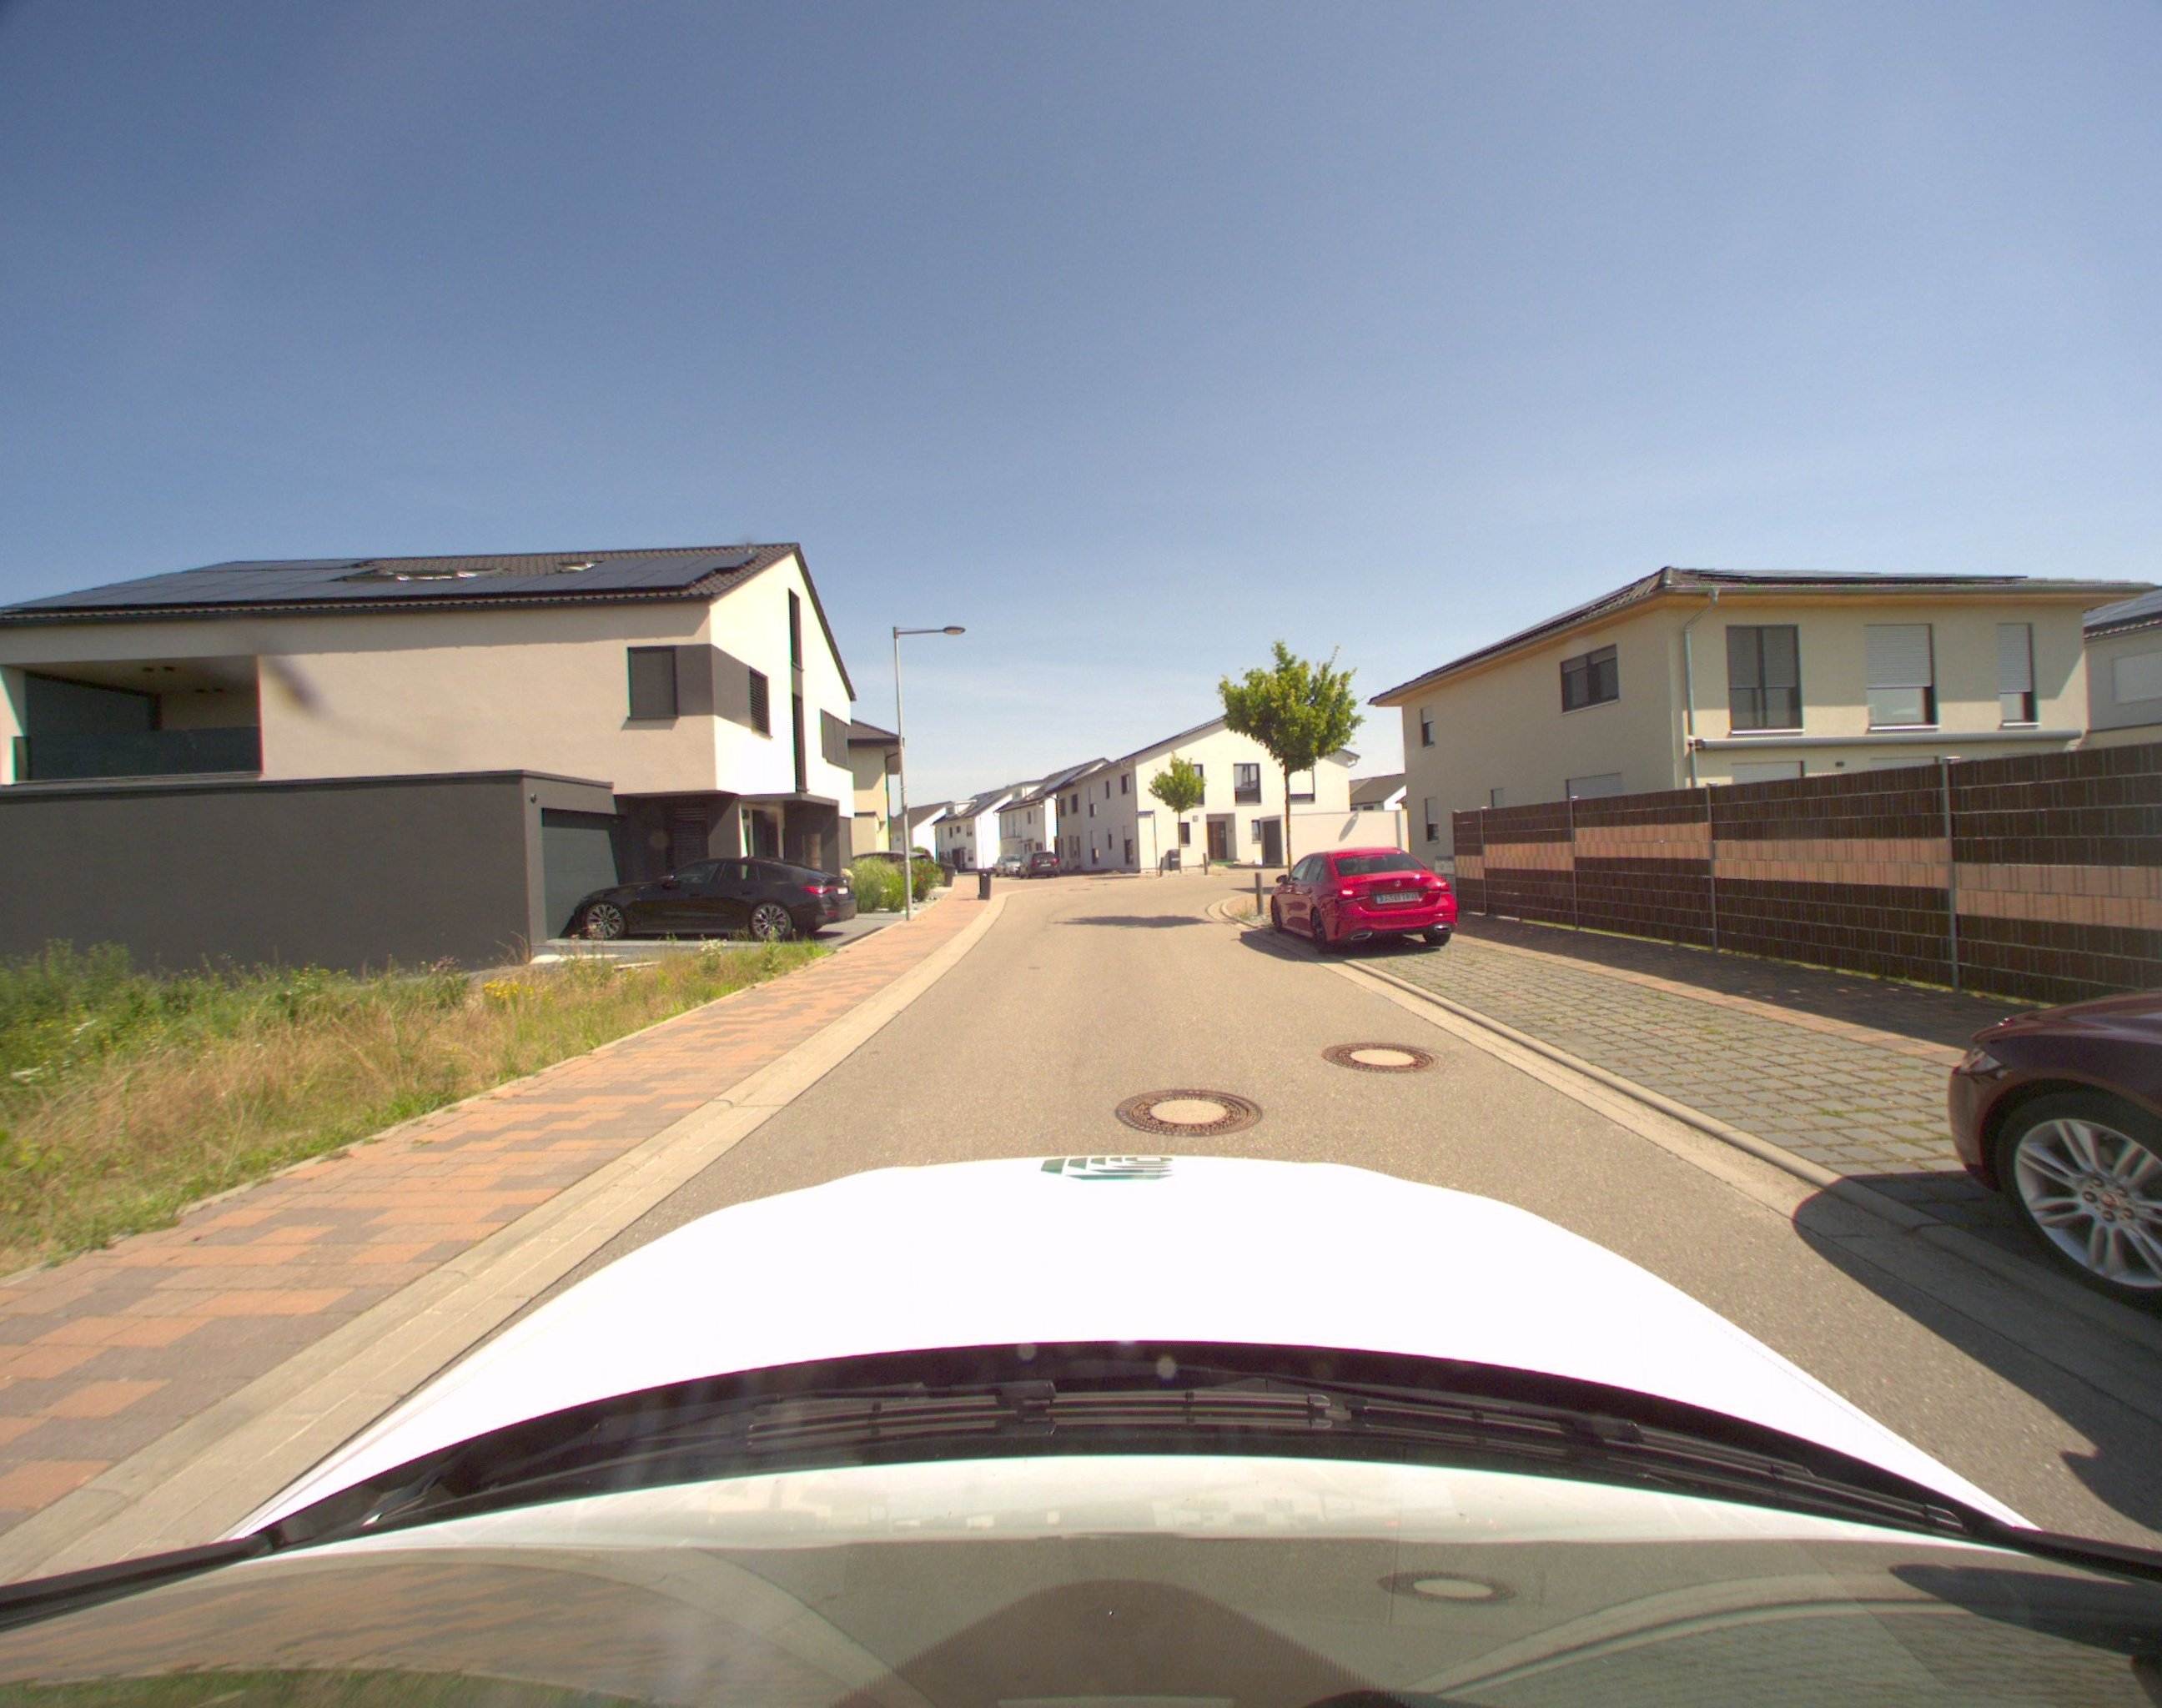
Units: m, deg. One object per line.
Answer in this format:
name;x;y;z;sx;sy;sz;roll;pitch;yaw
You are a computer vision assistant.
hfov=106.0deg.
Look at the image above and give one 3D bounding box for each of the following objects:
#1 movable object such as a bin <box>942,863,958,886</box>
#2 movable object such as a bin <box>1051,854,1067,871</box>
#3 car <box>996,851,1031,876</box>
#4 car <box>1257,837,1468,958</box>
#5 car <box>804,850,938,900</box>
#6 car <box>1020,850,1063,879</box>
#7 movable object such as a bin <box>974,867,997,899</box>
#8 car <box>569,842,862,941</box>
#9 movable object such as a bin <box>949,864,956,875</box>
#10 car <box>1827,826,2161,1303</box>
movable object such as a bin;-5.335;0.843;33.187;0.615;0.927;0.422;0;-1;-10
movable object such as a bin;-1.465;0.592;54.354;0.786;1.049;0.800;-5;1;-16
car;-4.492;0.625;54.075;1.679;1.464;3.926;-3;0;-14
car;4.109;0.550;12.732;1.756;1.438;4.521;-4;0;1
car;-7.064;0.693;27.652;3.972;1.486;1.755;-2;0;2
car;-2.223;0.556;44.338;1.728;1.422;3.985;-3;0;-11
movable object such as a bin;-2.883;0.874;24.654;0.531;0.936;0.527;-1;0;9
car;-6.313;0.619;14.418;4.361;1.631;1.770;0;0;0
movable object such as a bin;-11.586;1.378;73.243;0.558;0.949;0.245;-3;0;-18
car;3.942;0.604;1.141;1.747;1.363;4.580;-3;0;3
